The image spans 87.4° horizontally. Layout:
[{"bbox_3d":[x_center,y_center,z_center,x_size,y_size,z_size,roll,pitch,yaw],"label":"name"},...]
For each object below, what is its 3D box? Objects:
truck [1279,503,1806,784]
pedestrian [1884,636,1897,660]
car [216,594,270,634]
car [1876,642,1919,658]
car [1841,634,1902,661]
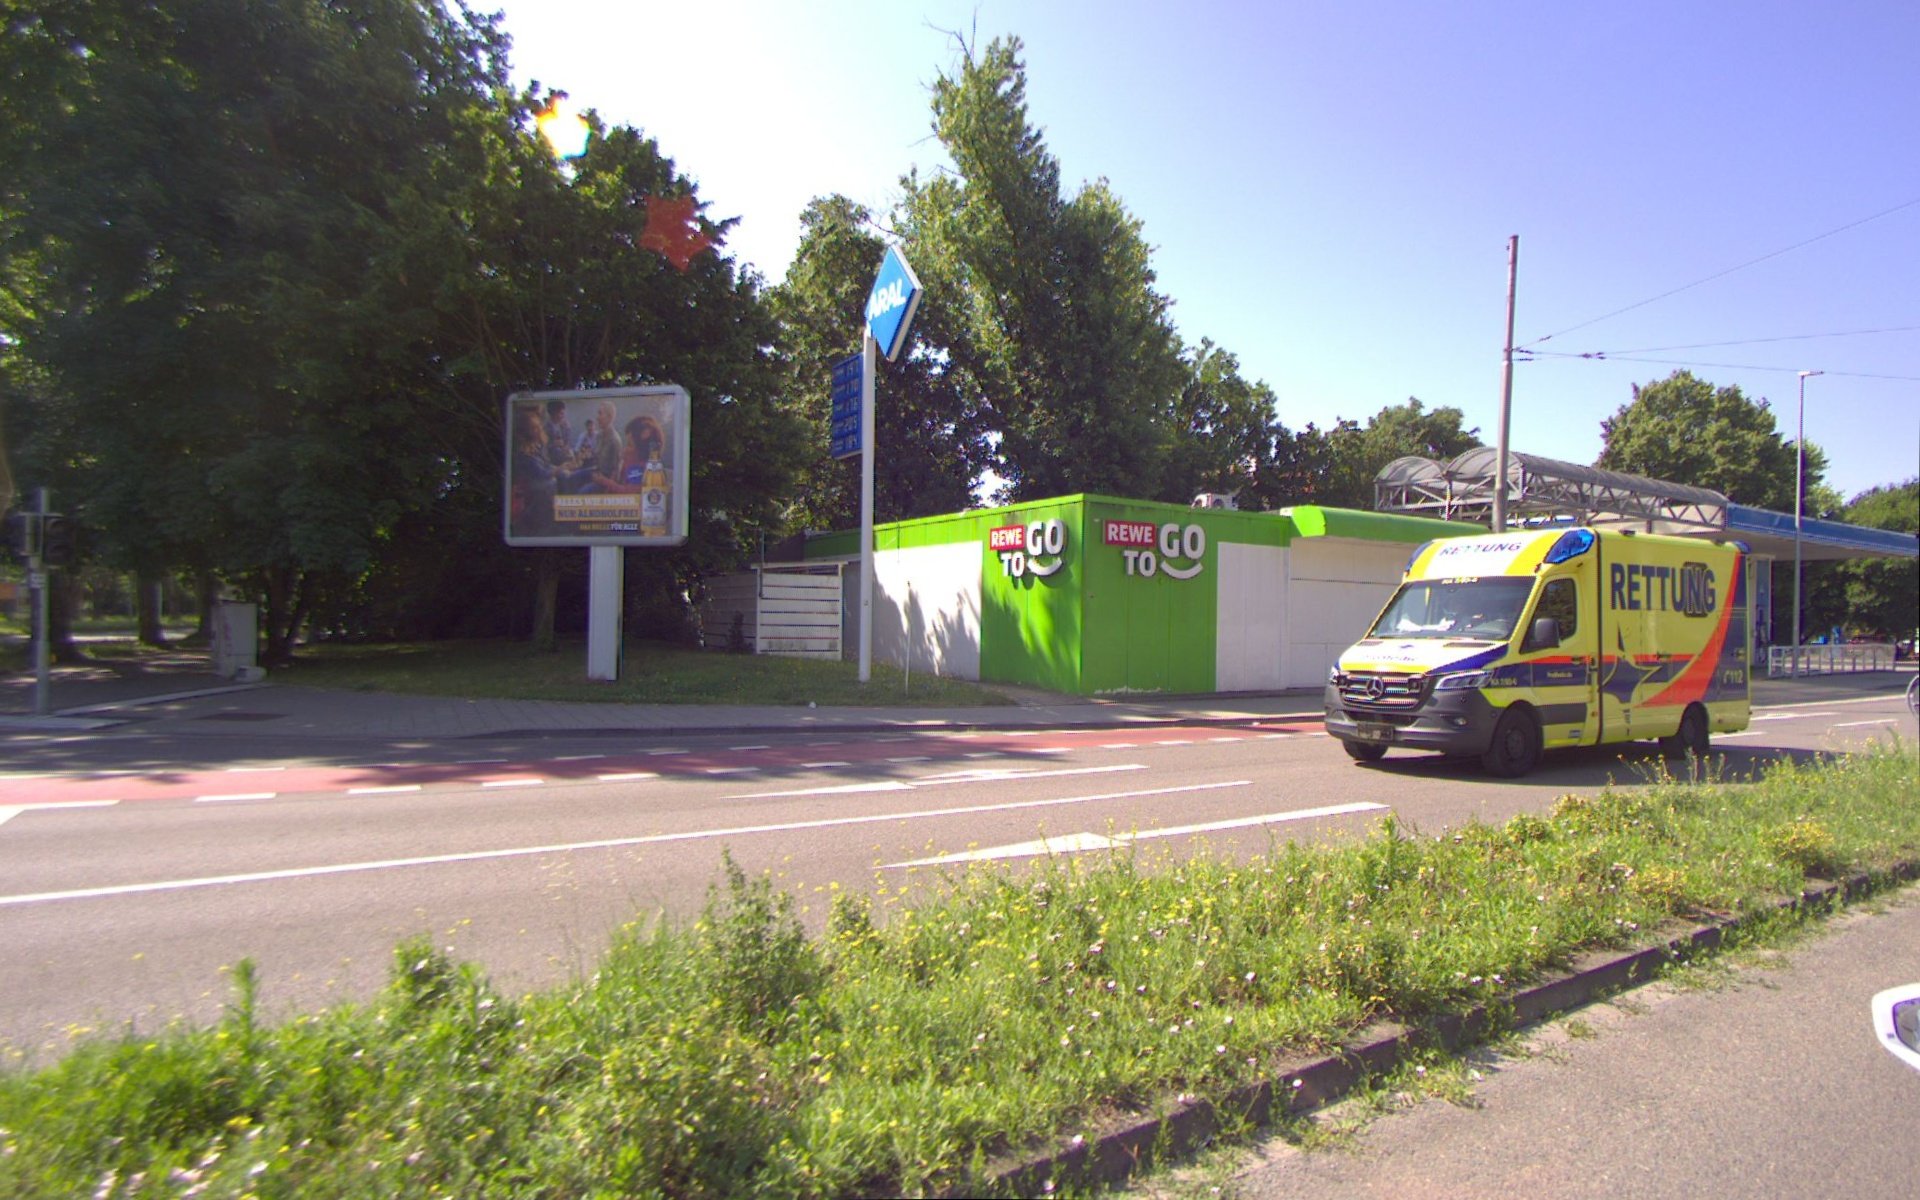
[{"bbox_3d":[7.434,0.524,12.466,7.271,2.703,2.320,2,-2,-30],"label":"truck"},{"bbox_3d":[59.581,3.065,64.300,0.494,1.501,0.496,2,-1,-32],"label":"pedestrian"},{"bbox_3d":[-43.730,0.872,61.359,1.974,2.347,4.627,1,-1,-27],"label":"car"},{"bbox_3d":[81.777,4.330,86.780,1.551,1.221,3.645,2,-2,-20],"label":"car"},{"bbox_3d":[58.683,3.046,64.635,4.468,1.591,1.790,0,-1,-32],"label":"car"}]
